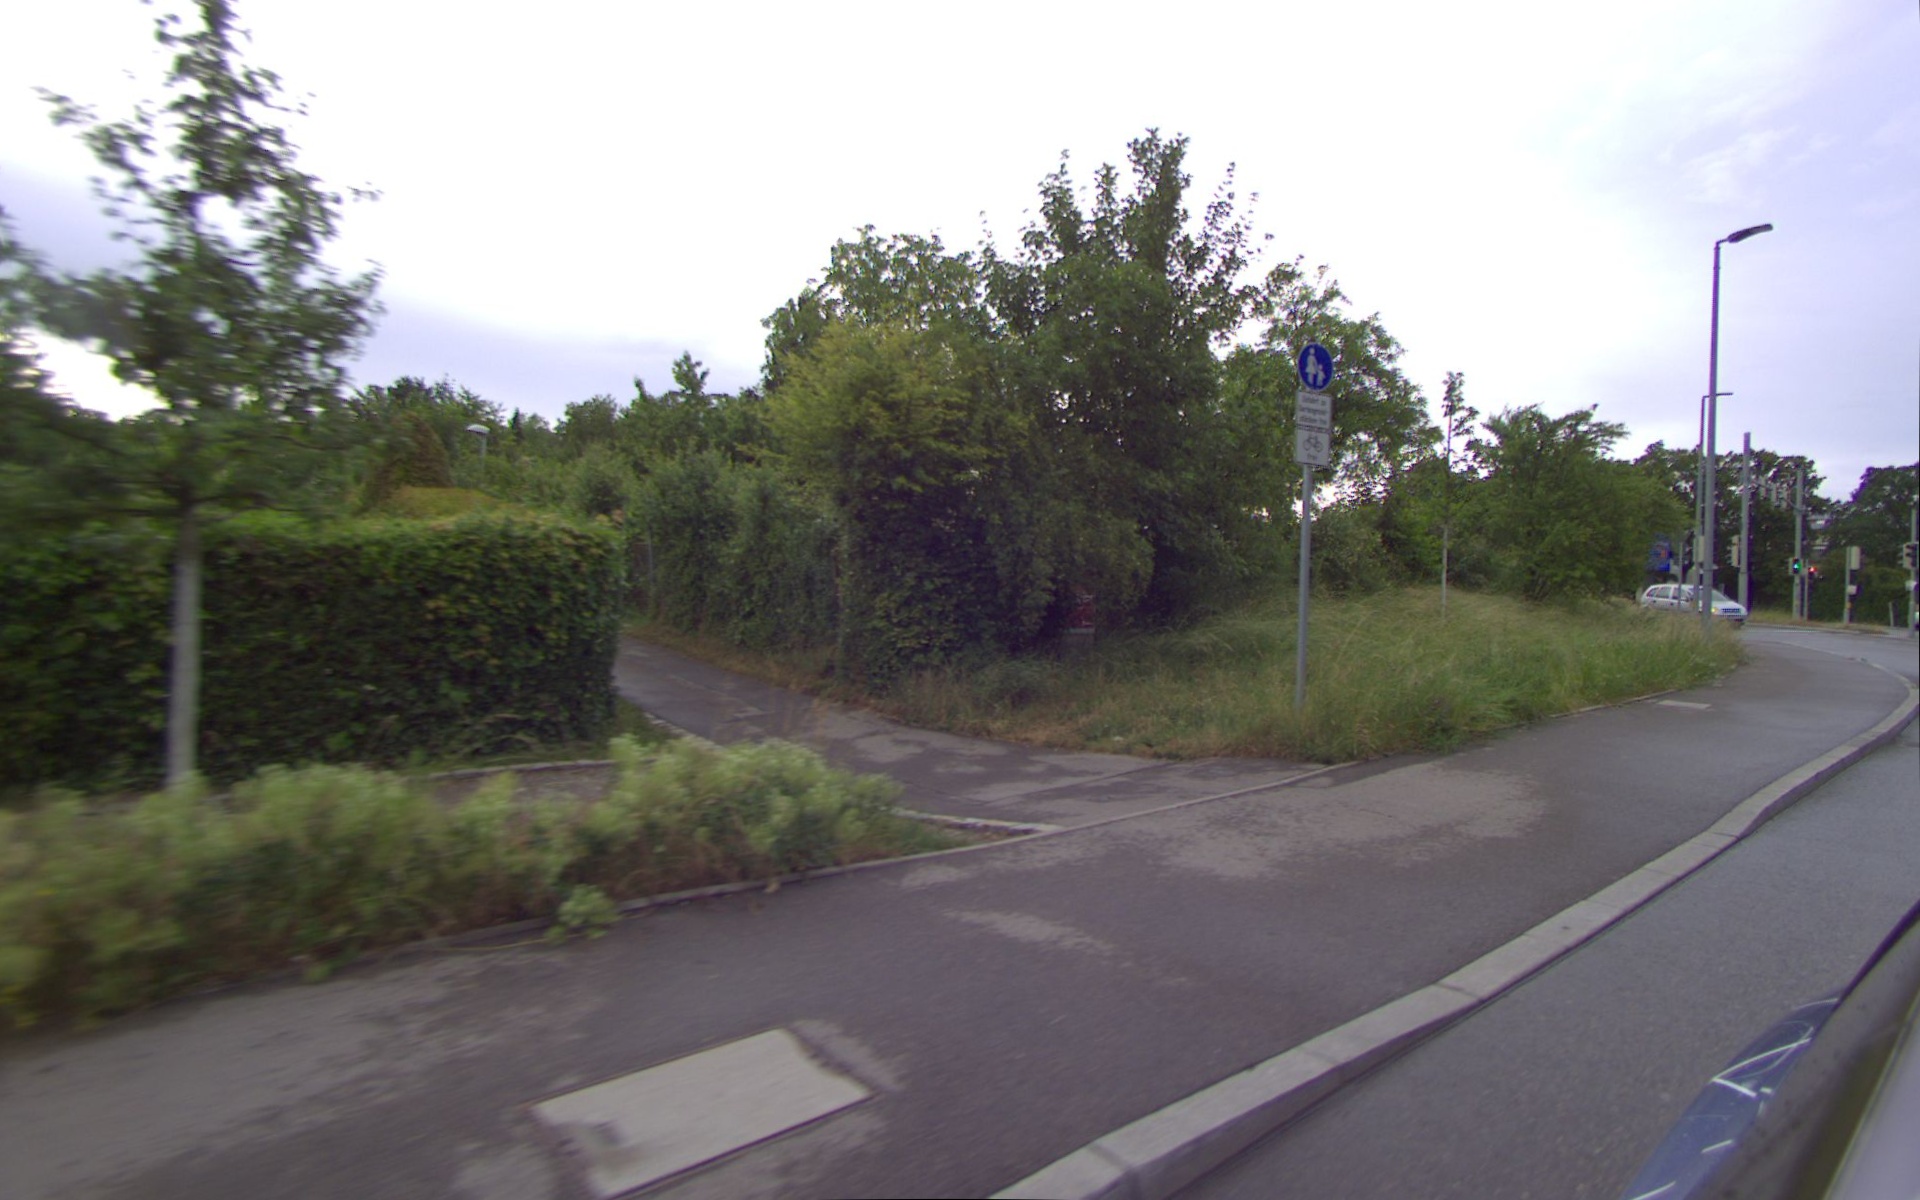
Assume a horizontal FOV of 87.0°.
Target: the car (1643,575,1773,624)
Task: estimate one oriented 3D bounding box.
[{"bbox_3d":[29.426,-0.069,39.974,1.786,1.623,4.071,-2,4,-6],"label":"car"}]
